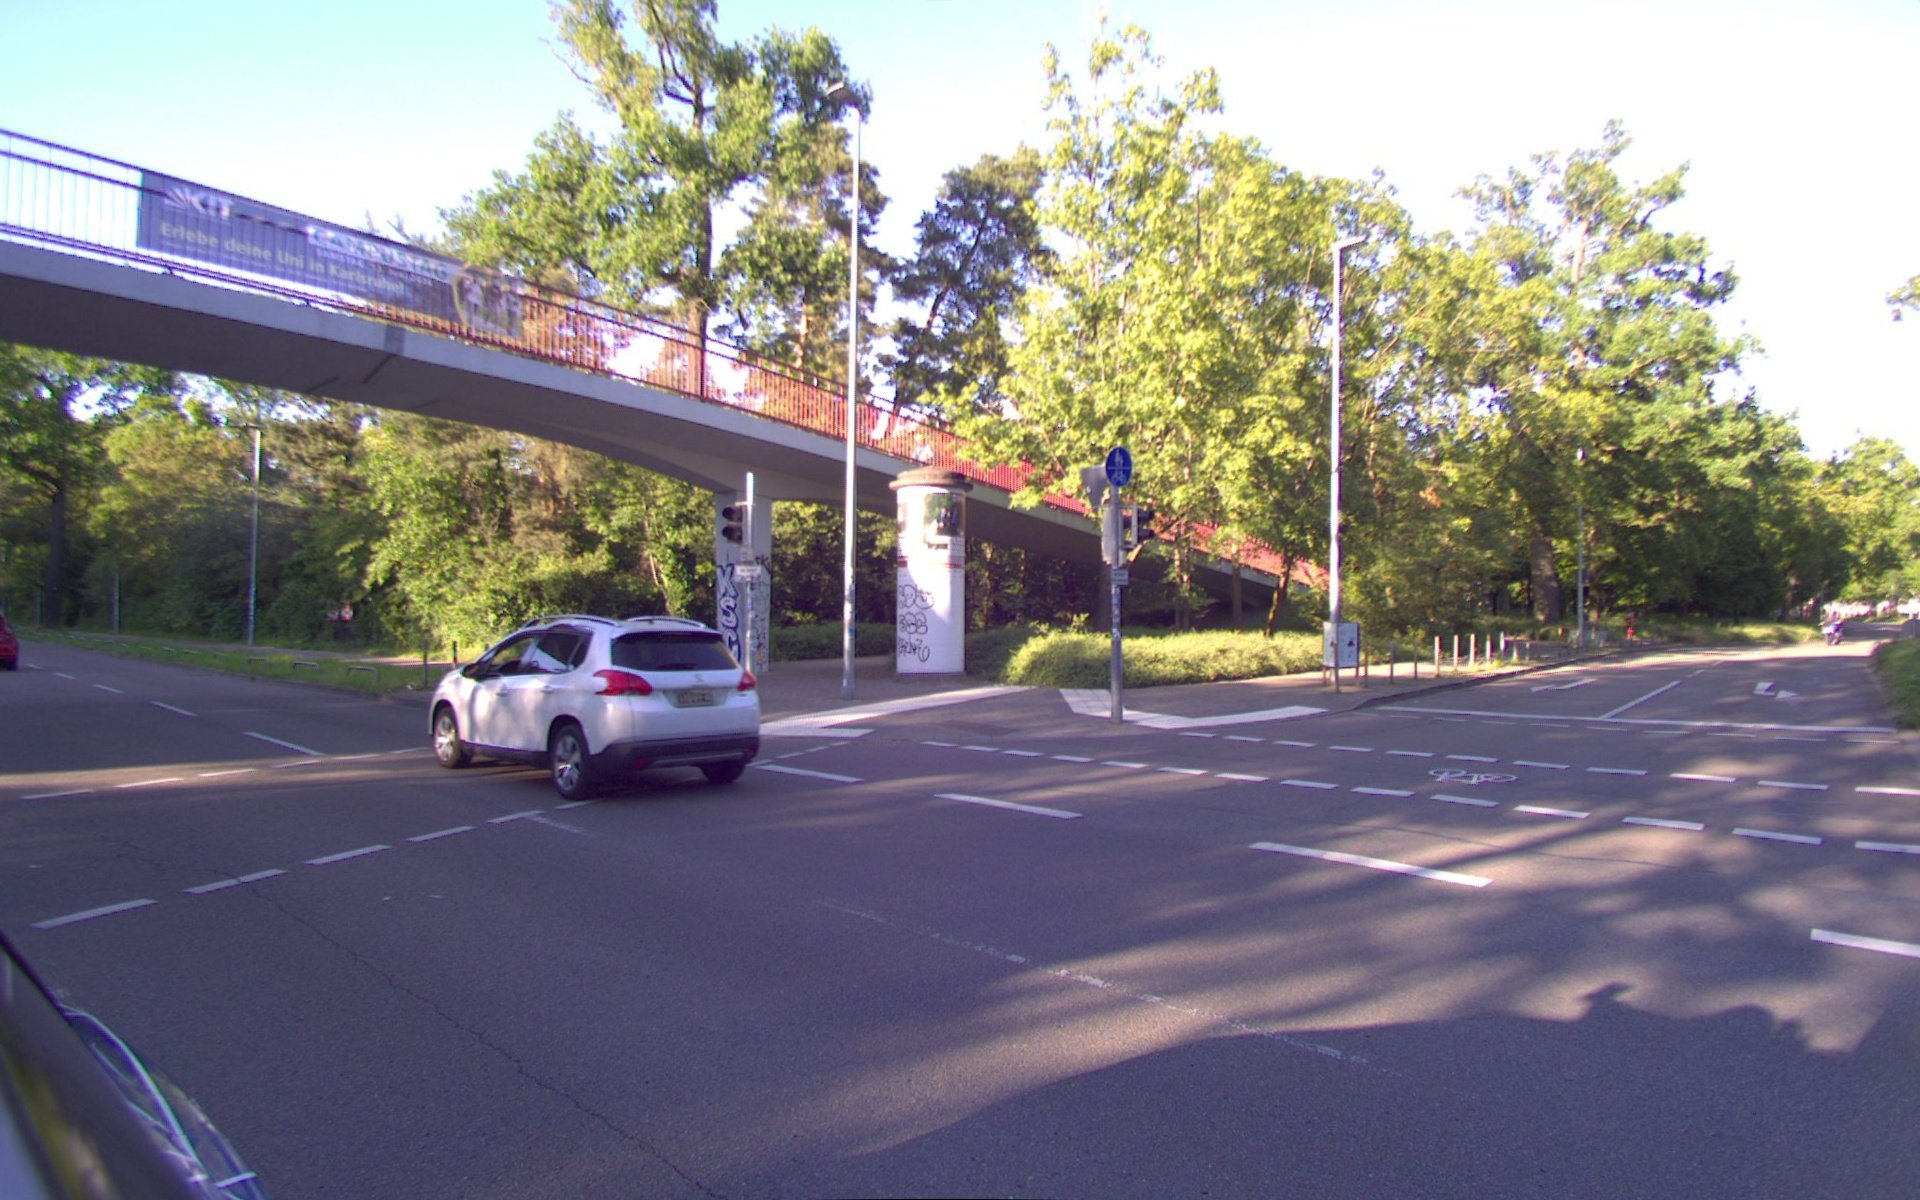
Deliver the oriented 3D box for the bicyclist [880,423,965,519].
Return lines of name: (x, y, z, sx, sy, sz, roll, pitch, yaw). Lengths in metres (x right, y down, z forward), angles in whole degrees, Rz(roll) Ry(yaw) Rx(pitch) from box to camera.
bicyclist: (-1.016, -3.457, 27.468, 1.412, 2.185, 1.660, 0, -6, 43)

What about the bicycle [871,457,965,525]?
bicycle: (-1.122, -2.909, 27.455, 1.052, 1.383, 2.413, 0, -5, 44)

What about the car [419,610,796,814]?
car: (-3.464, 0.903, 9.593, 3.900, 1.535, 1.659, -1, -3, 42)

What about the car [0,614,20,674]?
car: (-25.031, 1.065, 25.383, 3.639, 1.467, 1.732, -1, -3, 42)
